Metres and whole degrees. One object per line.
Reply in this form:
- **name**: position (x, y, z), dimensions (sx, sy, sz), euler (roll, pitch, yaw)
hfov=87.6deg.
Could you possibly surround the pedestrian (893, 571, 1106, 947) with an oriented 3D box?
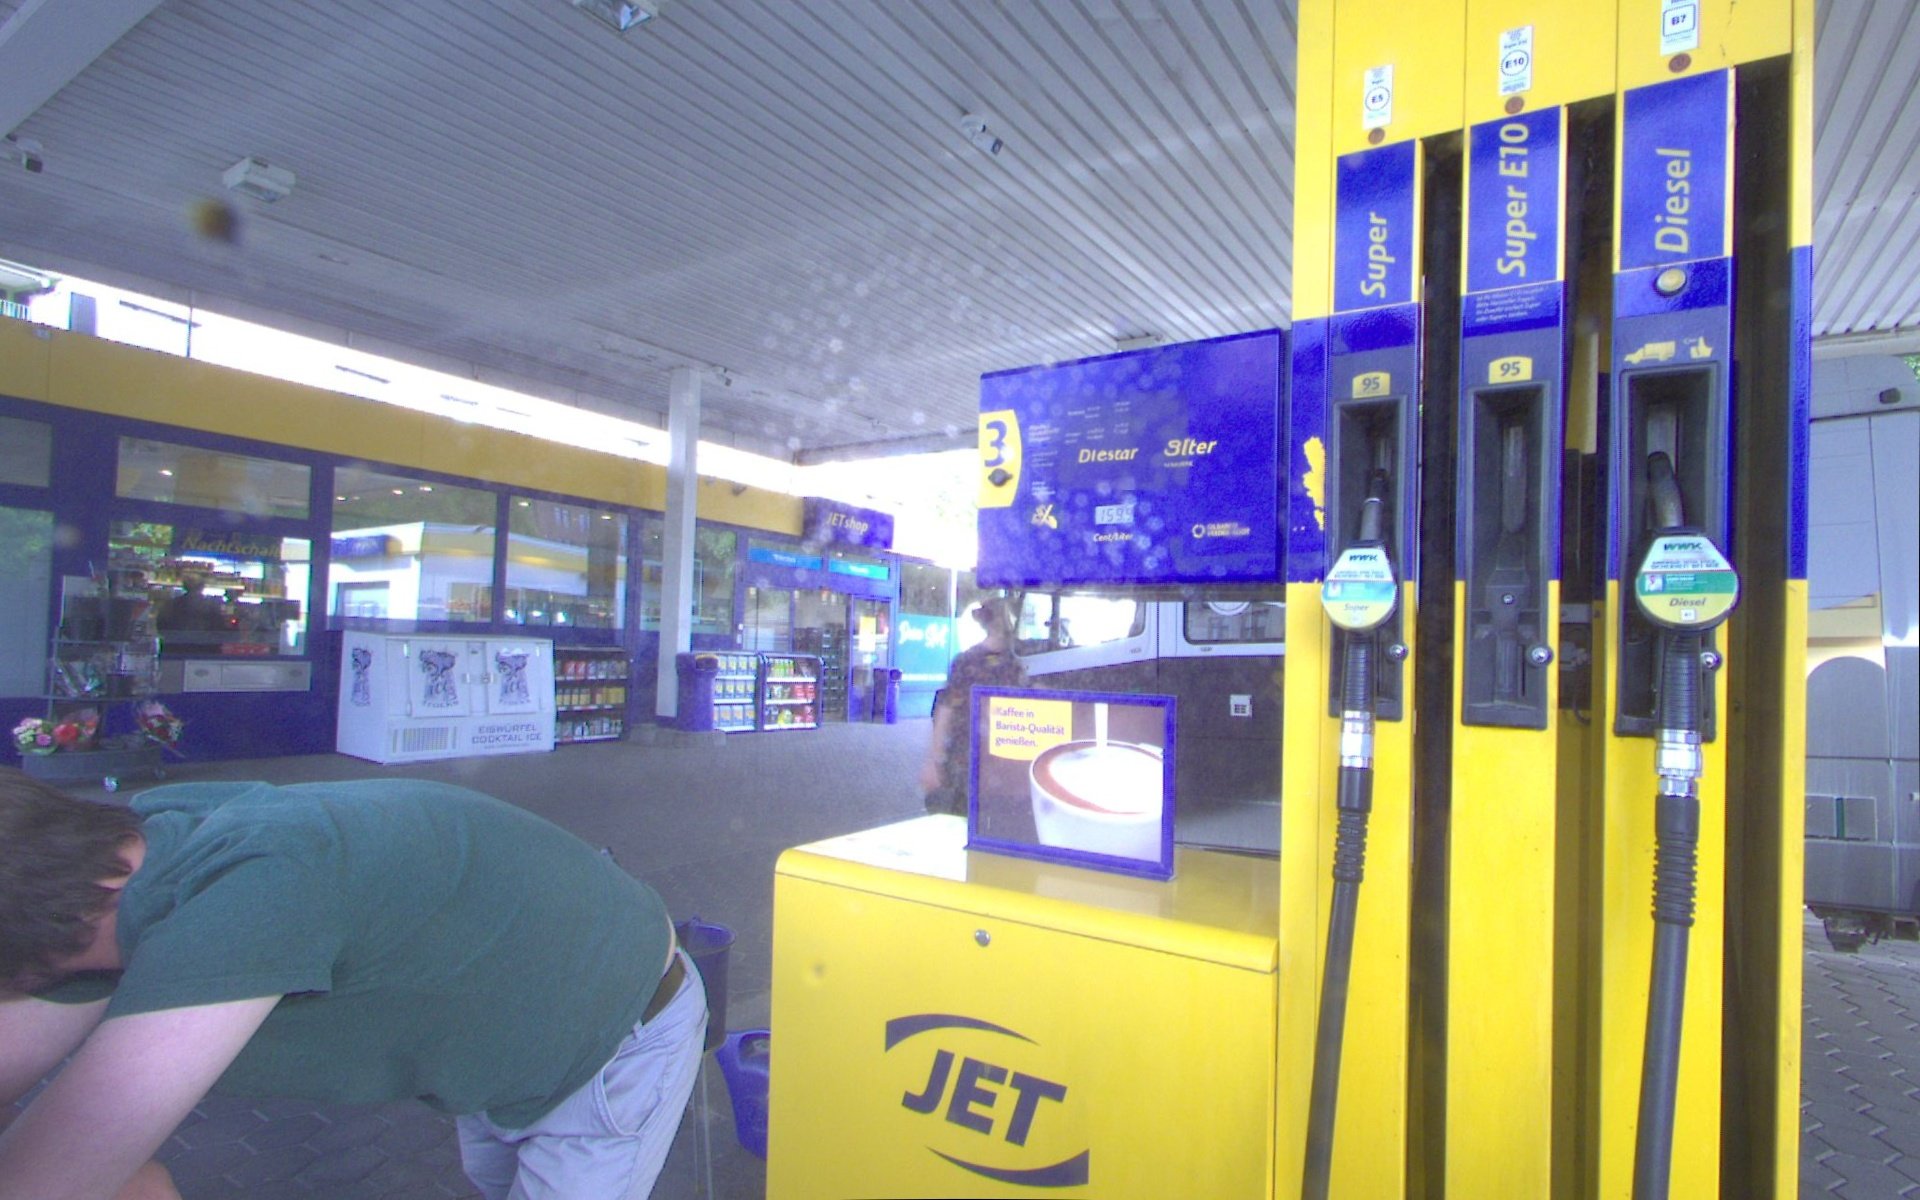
- **pedestrian**: position (0.249, 0.776, 5.364), dimensions (0.962, 1.785, 0.979), euler (0, -1, 14)

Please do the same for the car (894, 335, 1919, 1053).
- **car**: position (2.383, 0.413, 6.016), dimensions (5.219, 2.724, 2.250), euler (0, -3, 34)

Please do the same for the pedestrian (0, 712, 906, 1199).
- **pedestrian**: position (-0.540, 0.808, 1.071), dimensions (0.664, 1.298, 0.749), euler (-1, -1, 31)
